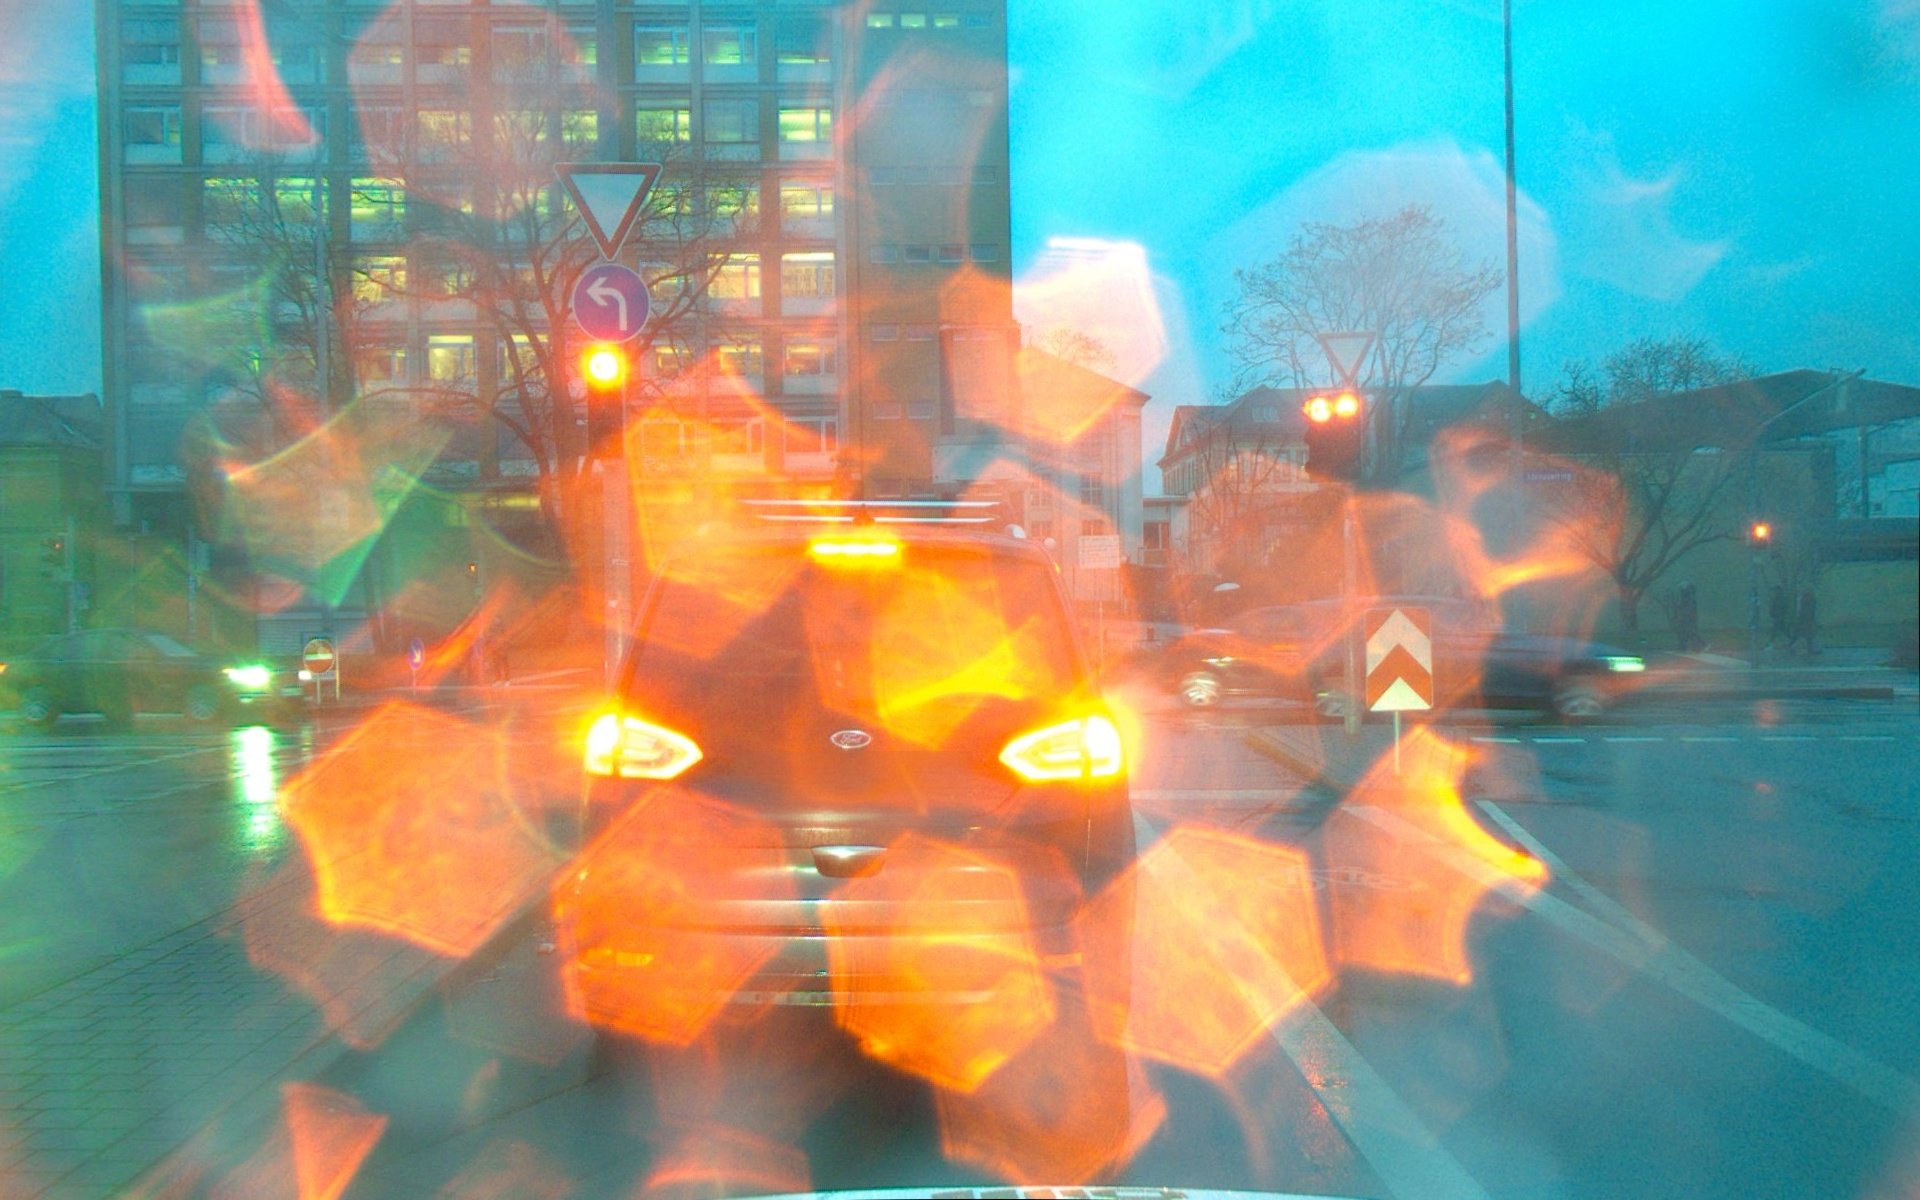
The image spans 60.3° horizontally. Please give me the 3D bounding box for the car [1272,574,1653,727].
[{"bbox_3d":[5.724,0.588,19.326,4.035,1.610,1.843,-2,-1,10],"label":"car"}]

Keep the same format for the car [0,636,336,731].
[{"bbox_3d":[-12.426,1.302,25.990,4.584,1.324,1.940,-2,-1,13],"label":"car"}]

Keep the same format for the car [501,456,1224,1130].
[{"bbox_3d":[-0.290,0.540,6.540,1.953,1.821,3.999,1,0,-1],"label":"car"}]

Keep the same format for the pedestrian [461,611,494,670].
[{"bbox_3d":[-14.183,1.184,48.641,0.625,1.718,0.637,-2,0,16],"label":"pedestrian"}]

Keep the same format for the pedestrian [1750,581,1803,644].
[{"bbox_3d":[20.515,0.305,41.552,0.874,1.559,0.886,-2,0,3],"label":"pedestrian"}]

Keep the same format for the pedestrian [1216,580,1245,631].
[{"bbox_3d":[9.120,0.179,55.758,0.706,1.656,0.760,-2,0,32],"label":"pedestrian"}]

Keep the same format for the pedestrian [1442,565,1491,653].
[{"bbox_3d":[12.588,0.219,41.098,0.875,2.150,0.886,-2,0,-1],"label":"pedestrian"}]

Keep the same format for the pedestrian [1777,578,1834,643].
[{"bbox_3d":[20.695,0.248,40.491,0.905,1.559,1.043,-2,0,7],"label":"pedestrian"}]

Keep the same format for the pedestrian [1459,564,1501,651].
[{"bbox_3d":[13.198,0.186,41.987,0.874,2.150,0.886,-2,0,11],"label":"pedestrian"}]

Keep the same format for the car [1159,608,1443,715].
[{"bbox_3d":[4.624,0.830,22.826,3.675,1.324,1.702,-2,-1,8],"label":"car"}]

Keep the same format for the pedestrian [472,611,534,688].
[{"bbox_3d":[-11.767,1.268,42.609,0.981,1.874,1.139,-2,2,22],"label":"pedestrian"}]

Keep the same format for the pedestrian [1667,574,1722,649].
[{"bbox_3d":[18.424,0.272,41.510,0.975,1.831,0.920,-2,0,5],"label":"pedestrian"}]
